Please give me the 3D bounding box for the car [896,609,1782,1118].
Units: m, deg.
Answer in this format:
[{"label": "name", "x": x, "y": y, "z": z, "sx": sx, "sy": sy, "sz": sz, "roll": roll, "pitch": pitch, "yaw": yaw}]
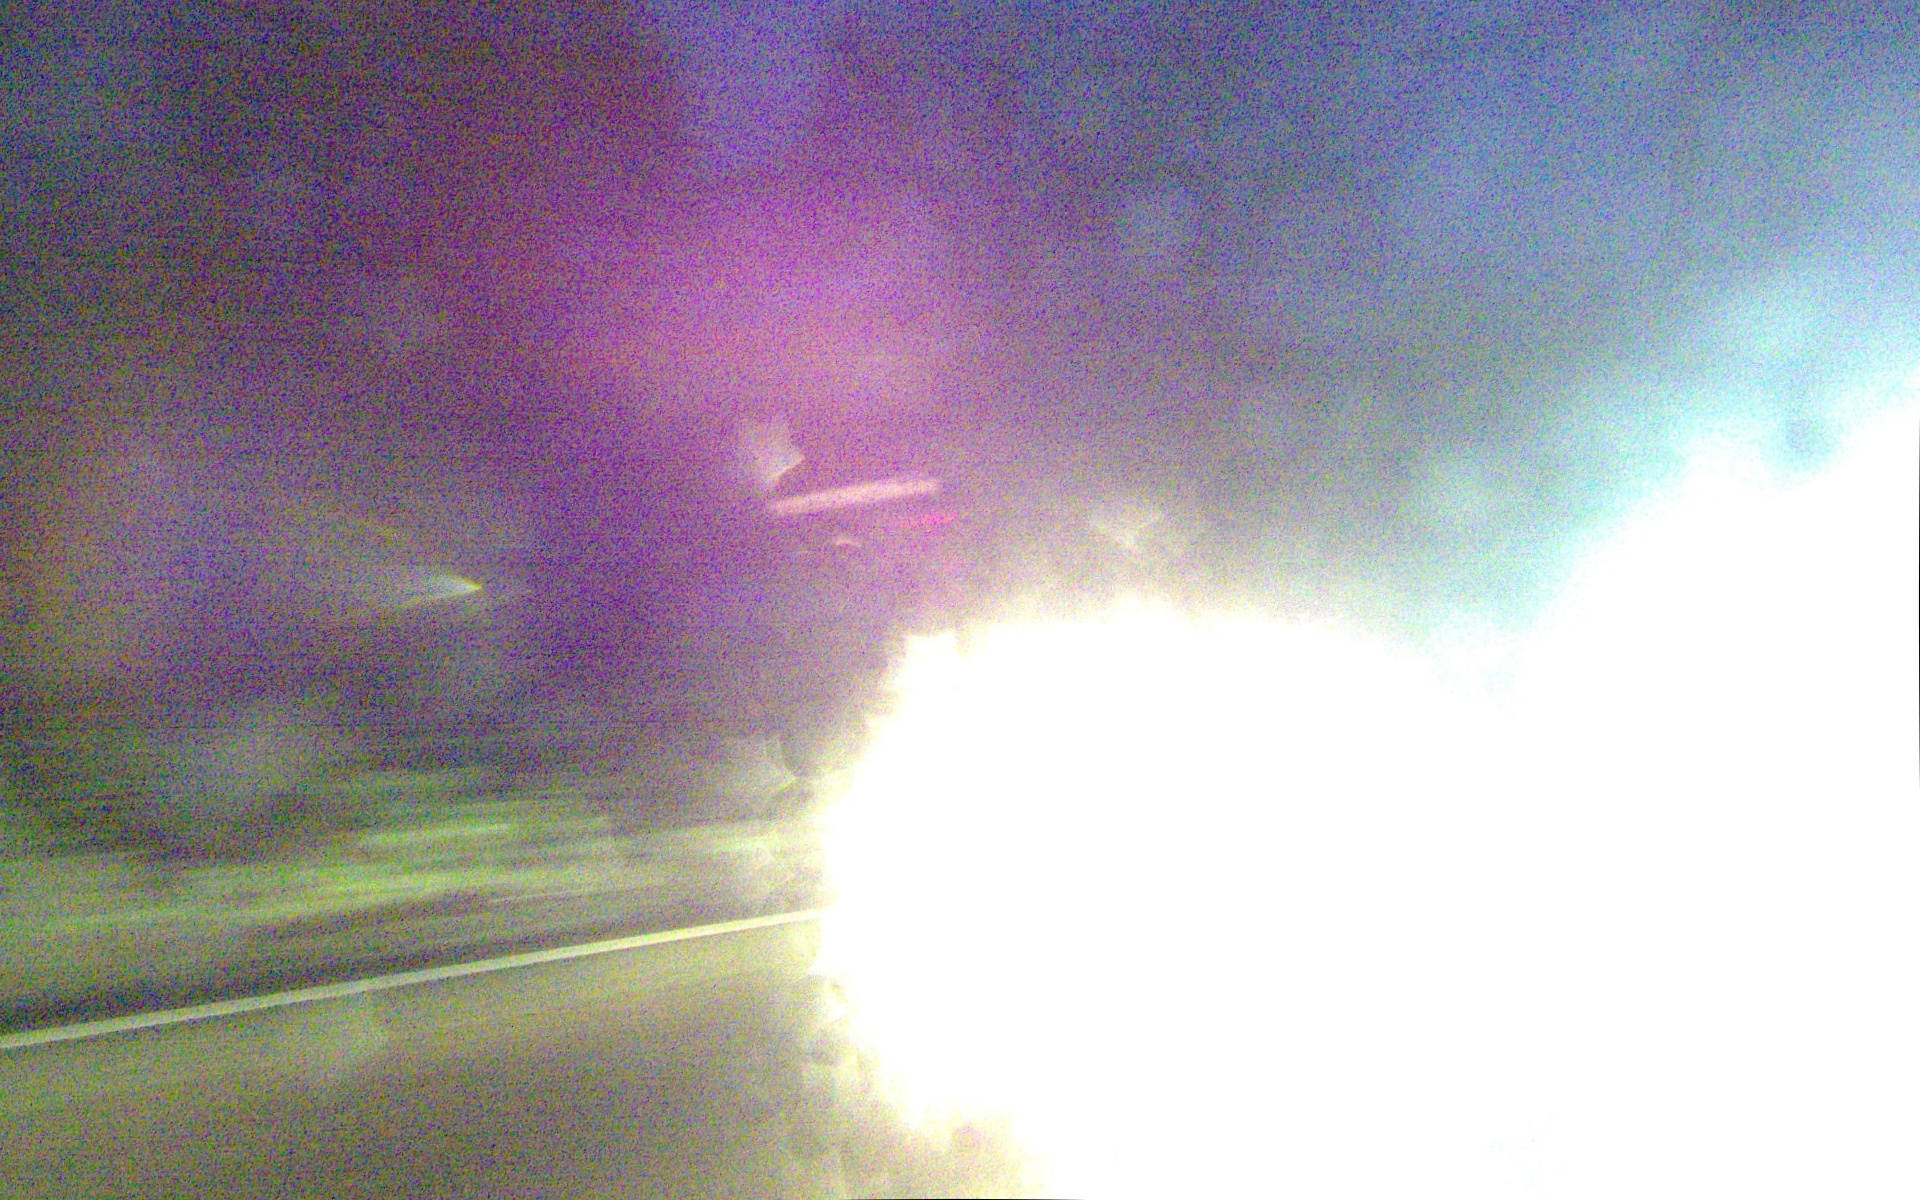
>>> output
[{"label": "car", "x": 2.015, "y": 0.847, "z": 4.904, "sx": 4.331, "sy": 1.503, "sz": 1.762, "roll": 2, "pitch": 0, "yaw": -32}]
